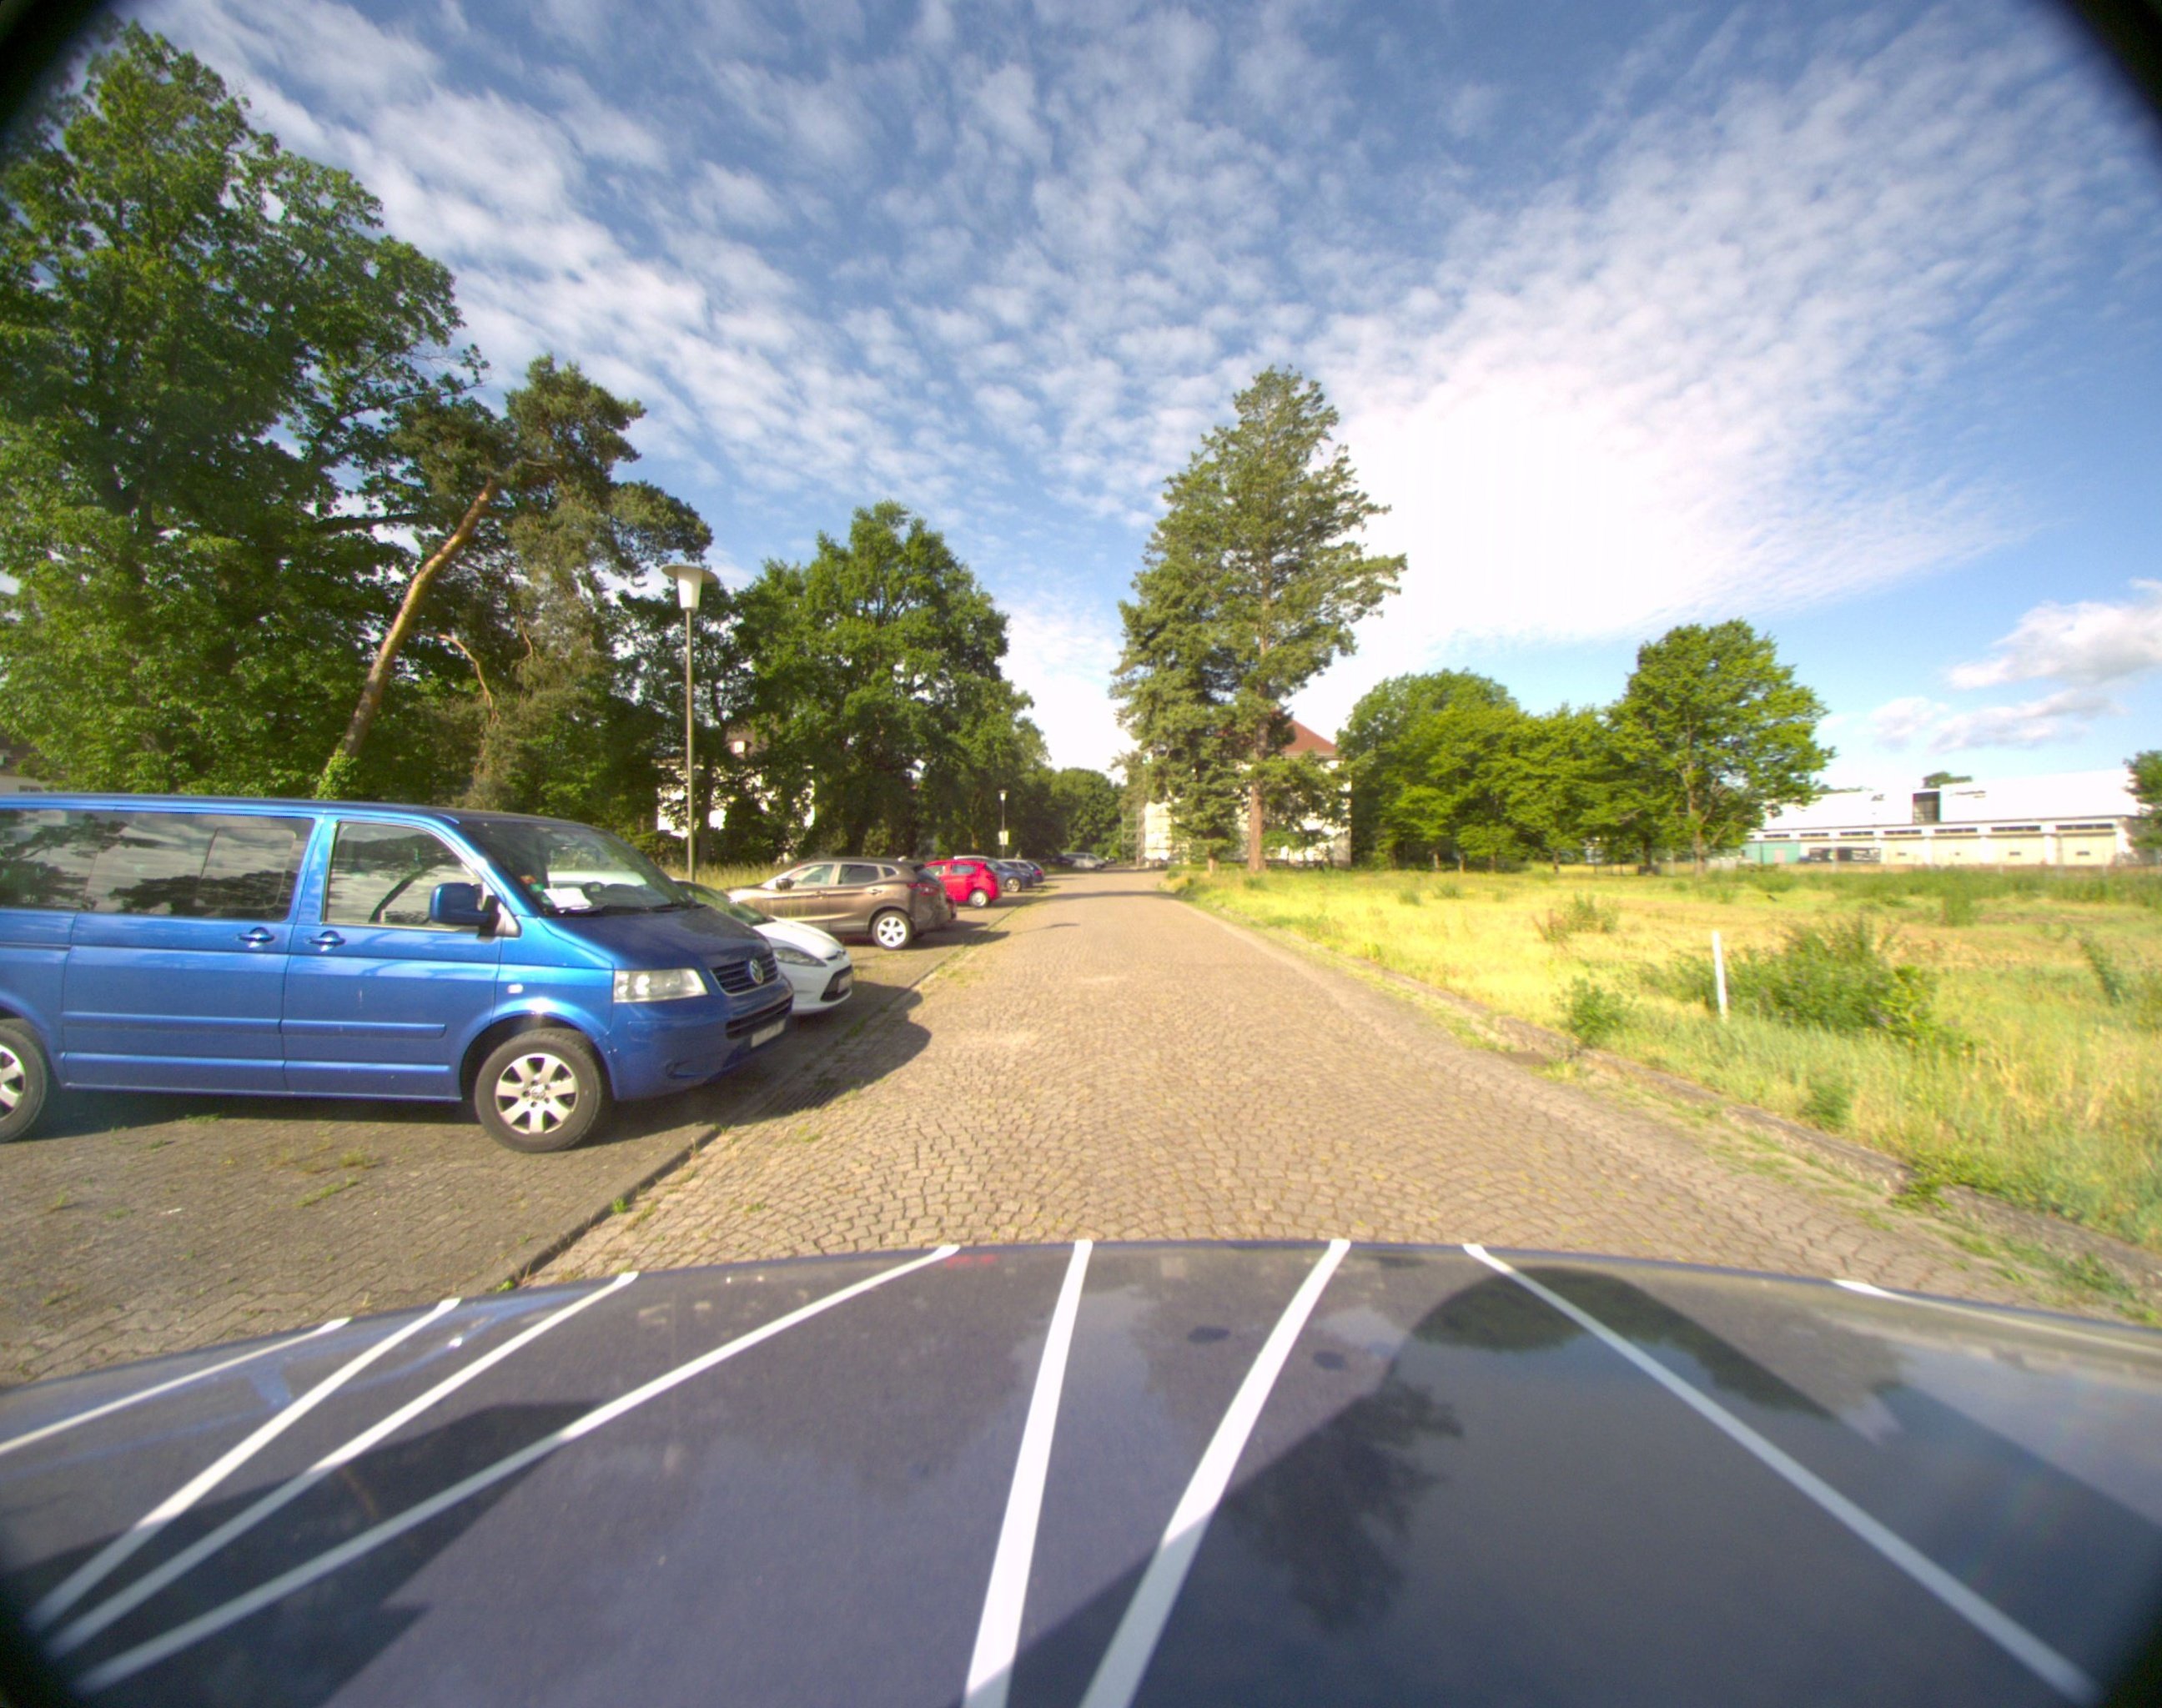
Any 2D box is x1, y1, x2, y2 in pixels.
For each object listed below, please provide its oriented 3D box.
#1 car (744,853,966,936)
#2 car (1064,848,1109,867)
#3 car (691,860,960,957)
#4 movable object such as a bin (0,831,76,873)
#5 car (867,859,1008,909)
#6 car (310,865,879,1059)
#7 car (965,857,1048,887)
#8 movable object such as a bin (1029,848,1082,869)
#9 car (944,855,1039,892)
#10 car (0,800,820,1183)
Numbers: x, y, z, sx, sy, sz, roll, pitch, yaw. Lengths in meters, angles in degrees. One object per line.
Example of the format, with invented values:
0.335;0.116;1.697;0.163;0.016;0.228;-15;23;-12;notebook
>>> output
-4.768;0.841;16.511;4.237;1.588;1.934;1;1;-2;car
0.604;0.404;87.743;4.933;2.002;1.999;1;1;-5;car
-4.458;0.939;13.802;4.237;1.588;1.934;0;1;-2;car
-88.336;-0.107;62.406;6.460;3.282;2.859;-3;1;-42;movable object such as a bin
-4.491;0.929;24.203;4.098;1.451;1.853;1;0;-1;car
-4.499;0.953;7.578;4.408;1.568;1.939;1;1;0;car
-3.772;0.896;39.109;4.098;1.415;1.784;1;0;-1;car
-2.472;0.457;74.872;4.865;2.002;2.002;-1;0;14;movable object such as a bin
-3.993;0.869;34.425;4.098;1.548;1.853;1;0;-1;car
-4.420;0.702;4.955;4.710;1.924;2.000;1;1;0;car
